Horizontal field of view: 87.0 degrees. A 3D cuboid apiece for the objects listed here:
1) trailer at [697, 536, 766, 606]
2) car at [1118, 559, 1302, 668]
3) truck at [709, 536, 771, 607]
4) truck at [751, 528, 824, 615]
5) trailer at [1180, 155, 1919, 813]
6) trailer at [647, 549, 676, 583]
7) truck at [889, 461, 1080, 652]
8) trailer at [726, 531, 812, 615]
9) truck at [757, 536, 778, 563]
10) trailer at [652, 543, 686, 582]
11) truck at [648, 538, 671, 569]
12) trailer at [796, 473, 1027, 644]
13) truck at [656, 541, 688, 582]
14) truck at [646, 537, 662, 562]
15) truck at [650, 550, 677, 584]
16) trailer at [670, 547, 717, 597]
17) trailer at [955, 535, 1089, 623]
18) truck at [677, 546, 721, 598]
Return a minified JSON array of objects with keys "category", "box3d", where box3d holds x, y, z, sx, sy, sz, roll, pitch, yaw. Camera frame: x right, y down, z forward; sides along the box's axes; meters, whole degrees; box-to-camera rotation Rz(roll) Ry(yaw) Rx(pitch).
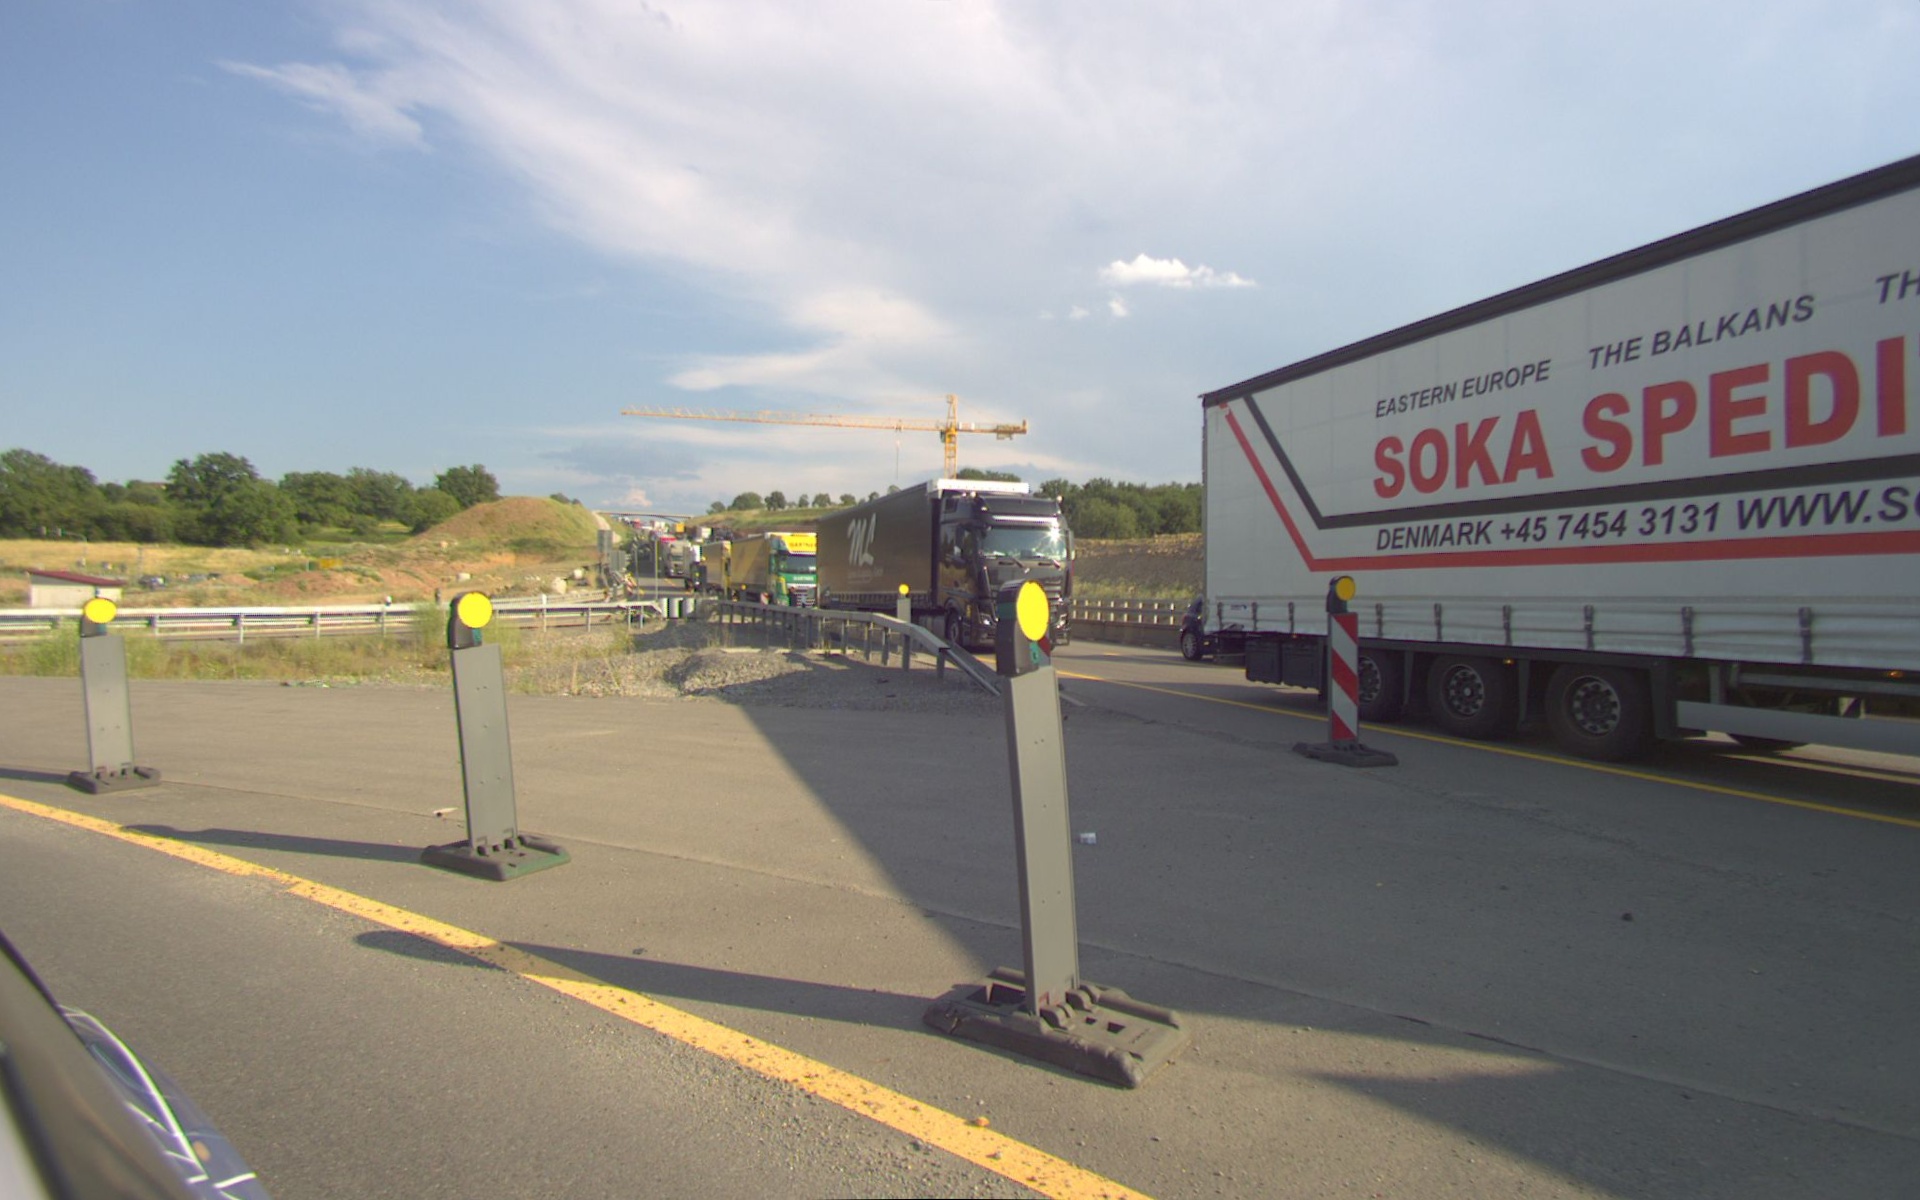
[{"category":"trailer","box3d":[-16.454,-1.940,72.030,3.060,4.346,14.298,2,0,-19]},{"category":"car","box3d":[5.114,0.236,21.348,1.500,2.029,4.346,2,0,-21]},{"category":"truck","box3d":[-14.650,-1.826,66.999,3.060,4.346,6.919,2,0,-19]},{"category":"truck","box3d":[-8.442,-1.321,49.057,2.445,3.931,6.031,1,1,-20]},{"category":"trailer","box3d":[6.463,-0.698,7.461,2.445,3.907,13.676,1,1,-20]},{"category":"trailer","box3d":[-42.403,-4.682,143.399,3.060,4.346,14.298,2,0,-19]},{"category":"truck","box3d":[0.389,-0.965,24.908,2.445,4.090,6.032,1,1,-22]},{"category":"trailer","box3d":[-10.675,-1.389,55.198,2.445,3.988,14.022,1,1,-20]},{"category":"truck","box3d":[-35.537,-9.241,187.360,3.515,4.445,13.204,2,0,-10]},{"category":"trailer","box3d":[-35.744,-4.473,123.761,3.060,4.346,14.298,2,0,-19]},{"category":"truck","box3d":[-46.272,-7.124,155.675,3.060,4.346,6.919,2,0,-19]},{"category":"trailer","box3d":[-2.146,-1.091,30.912,2.445,4.092,13.677,1,1,-23]},{"category":"truck","box3d":[-33.168,-4.350,116.278,3.060,4.346,6.919,2,0,-19]},{"category":"truck","box3d":[-54.587,-8.883,180.215,2.480,4.031,8.580,2,0,-18]},{"category":"truck","box3d":[-40.155,-4.346,136.974,3.060,4.346,6.919,2,0,-19]},{"category":"trailer","box3d":[-25.521,-2.548,96.399,3.060,4.346,14.298,2,0,-19]},{"category":"trailer","box3d":[2.761,-0.982,49.342,2.964,3.780,9.601,2,0,-19]},{"category":"truck","box3d":[-23.165,-2.408,89.702,3.060,4.346,6.919,2,0,-19]}]
